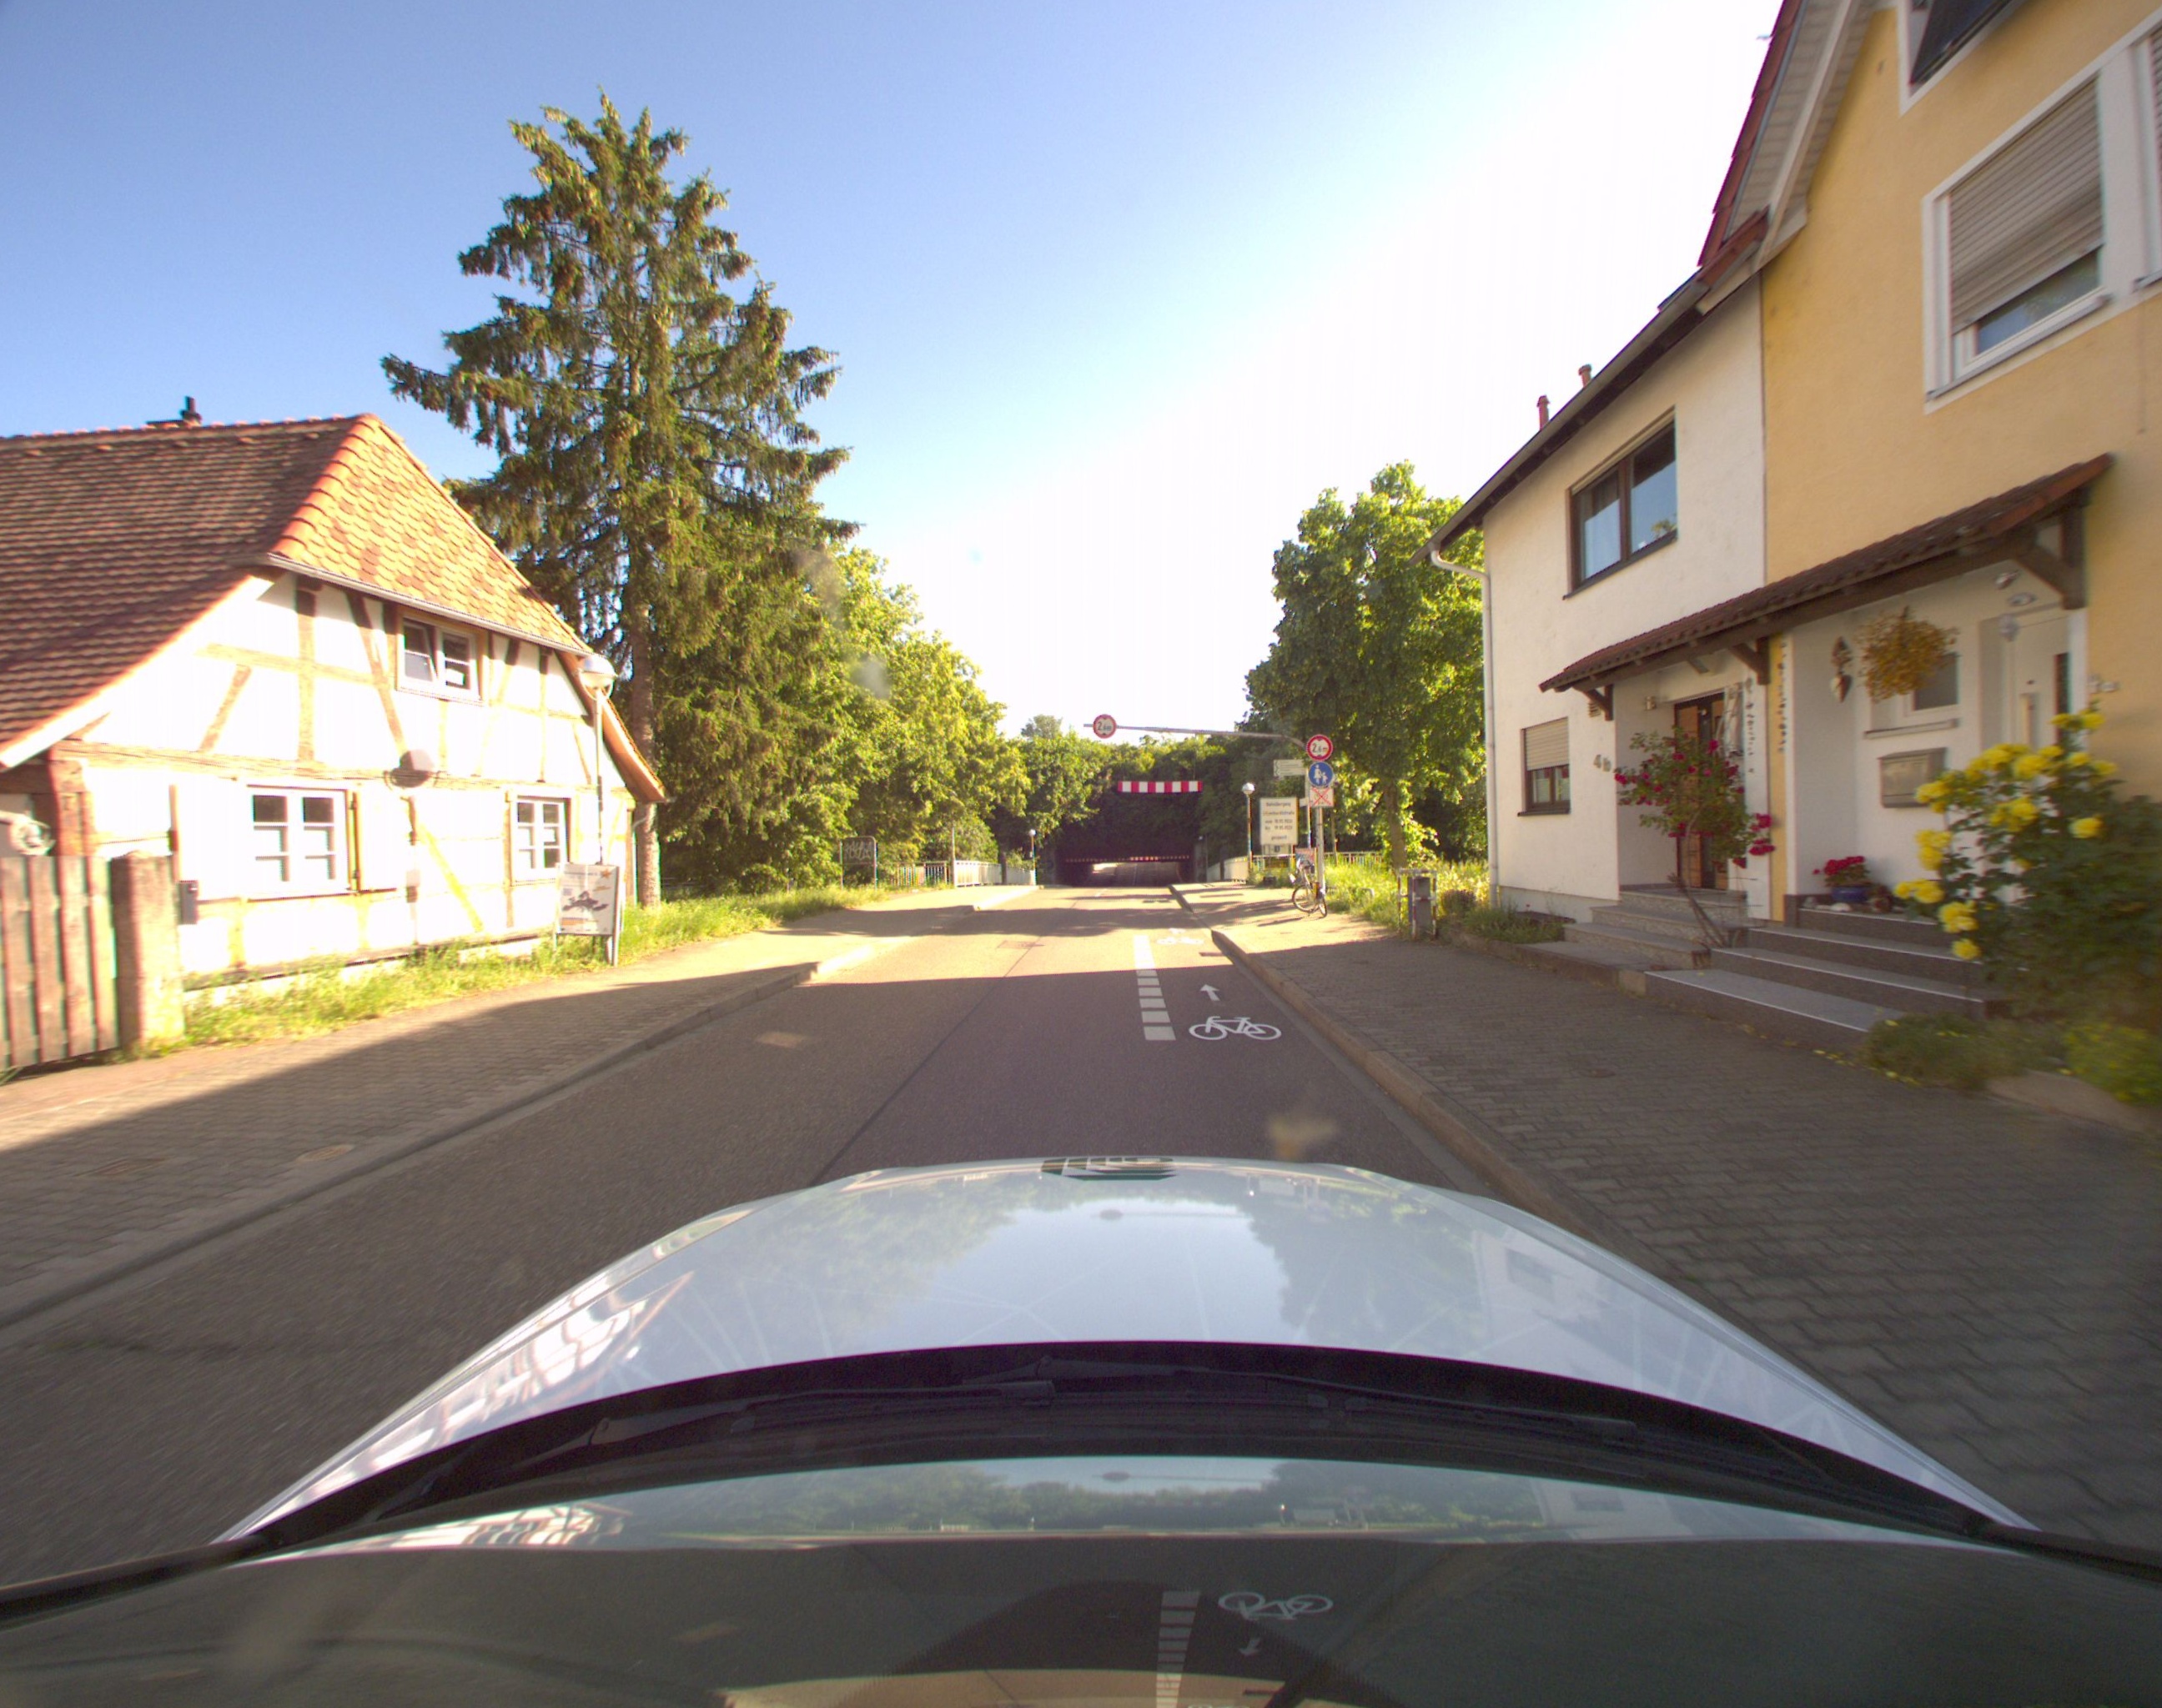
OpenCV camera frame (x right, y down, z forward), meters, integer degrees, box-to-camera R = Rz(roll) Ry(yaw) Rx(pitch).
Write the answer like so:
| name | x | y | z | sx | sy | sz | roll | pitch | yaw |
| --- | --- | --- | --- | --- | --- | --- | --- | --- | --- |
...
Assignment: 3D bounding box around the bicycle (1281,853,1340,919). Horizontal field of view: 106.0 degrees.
| name | x | y | z | sx | sy | sz | roll | pitch | yaw |
| --- | --- | --- | --- | --- | --- | --- | --- | --- | --- |
| bicycle | 4.536 | 0.602 | 16.174 | 0.686 | 1.157 | 1.540 | -6 | 0 | 3 |
